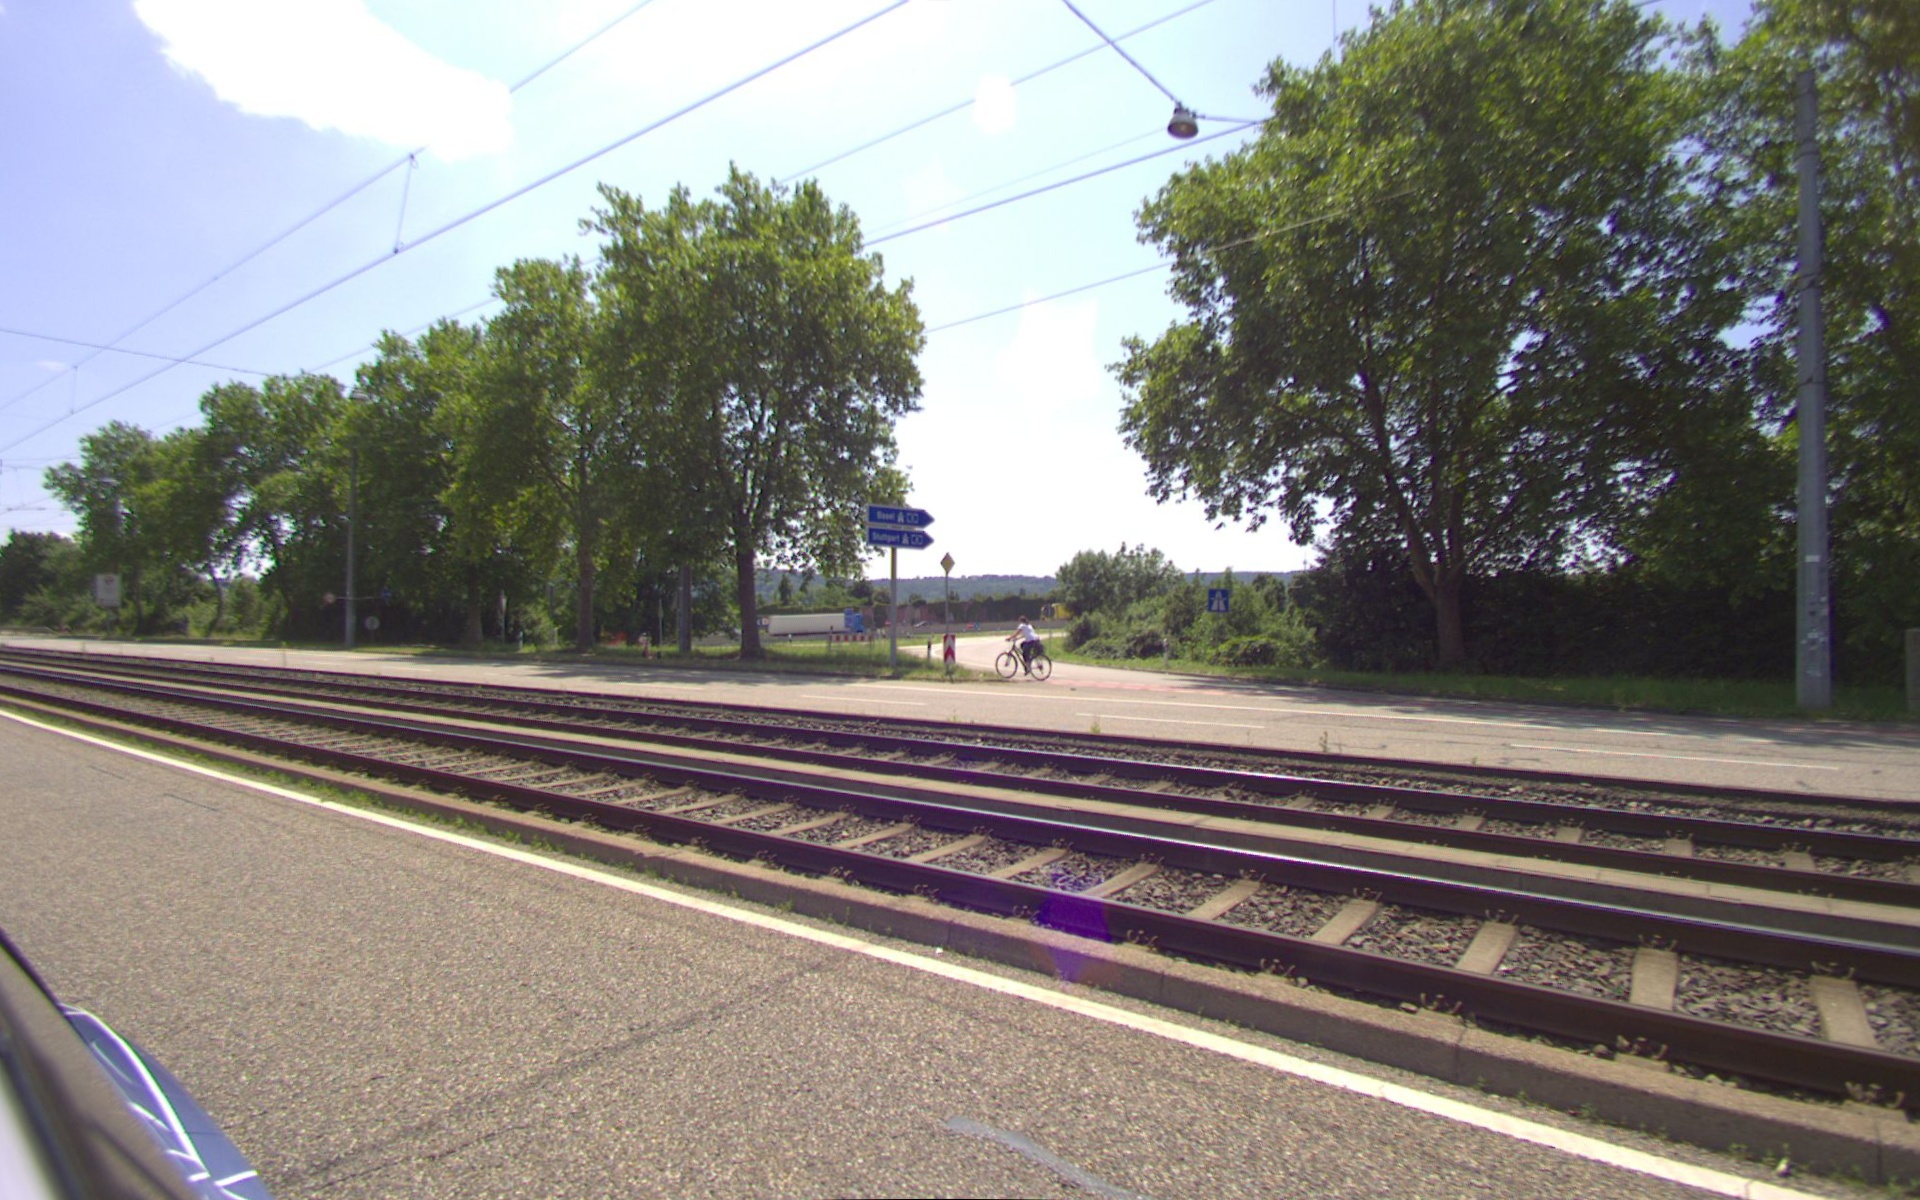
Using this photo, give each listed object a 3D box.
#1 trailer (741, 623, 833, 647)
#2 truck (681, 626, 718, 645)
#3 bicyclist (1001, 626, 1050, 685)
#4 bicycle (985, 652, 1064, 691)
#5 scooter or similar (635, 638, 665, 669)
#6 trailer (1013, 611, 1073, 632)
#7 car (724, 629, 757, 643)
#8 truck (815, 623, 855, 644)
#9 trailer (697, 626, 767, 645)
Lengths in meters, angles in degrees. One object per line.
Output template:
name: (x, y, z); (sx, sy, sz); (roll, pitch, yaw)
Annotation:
trailer: (-28.609, 5.762, 167.811); (14.565, 3.454, 3.146); (-1, -1, -22)
truck: (-47.538, 6.525, 184.764); (6.035, 3.408, 3.340); (1, -2, -23)
bicyclist: (1.736, 1.448, 26.789); (1.158, 1.529, 0.616); (-1, -2, 36)
bicycle: (1.695, 1.874, 26.820); (2.087, 0.946, 0.616); (-1, -2, 37)
scooter or similar: (-11.930, 2.047, 38.968); (1.232, 1.159, 0.457); (-1, -1, 36)
trailer: (16.910, 4.366, 206.077); (12.000, 4.188, 3.146); (-1, -1, -25)
car: (-39.920, 6.506, 183.834); (5.474, 2.524, 2.229); (1, -2, -23)
truck: (-21.093, 5.672, 170.855); (5.908, 3.454, 3.146); (-1, -1, -22)
trailer: (-42.157, 6.544, 186.984); (12.164, 3.466, 3.349); (1, -2, -23)
